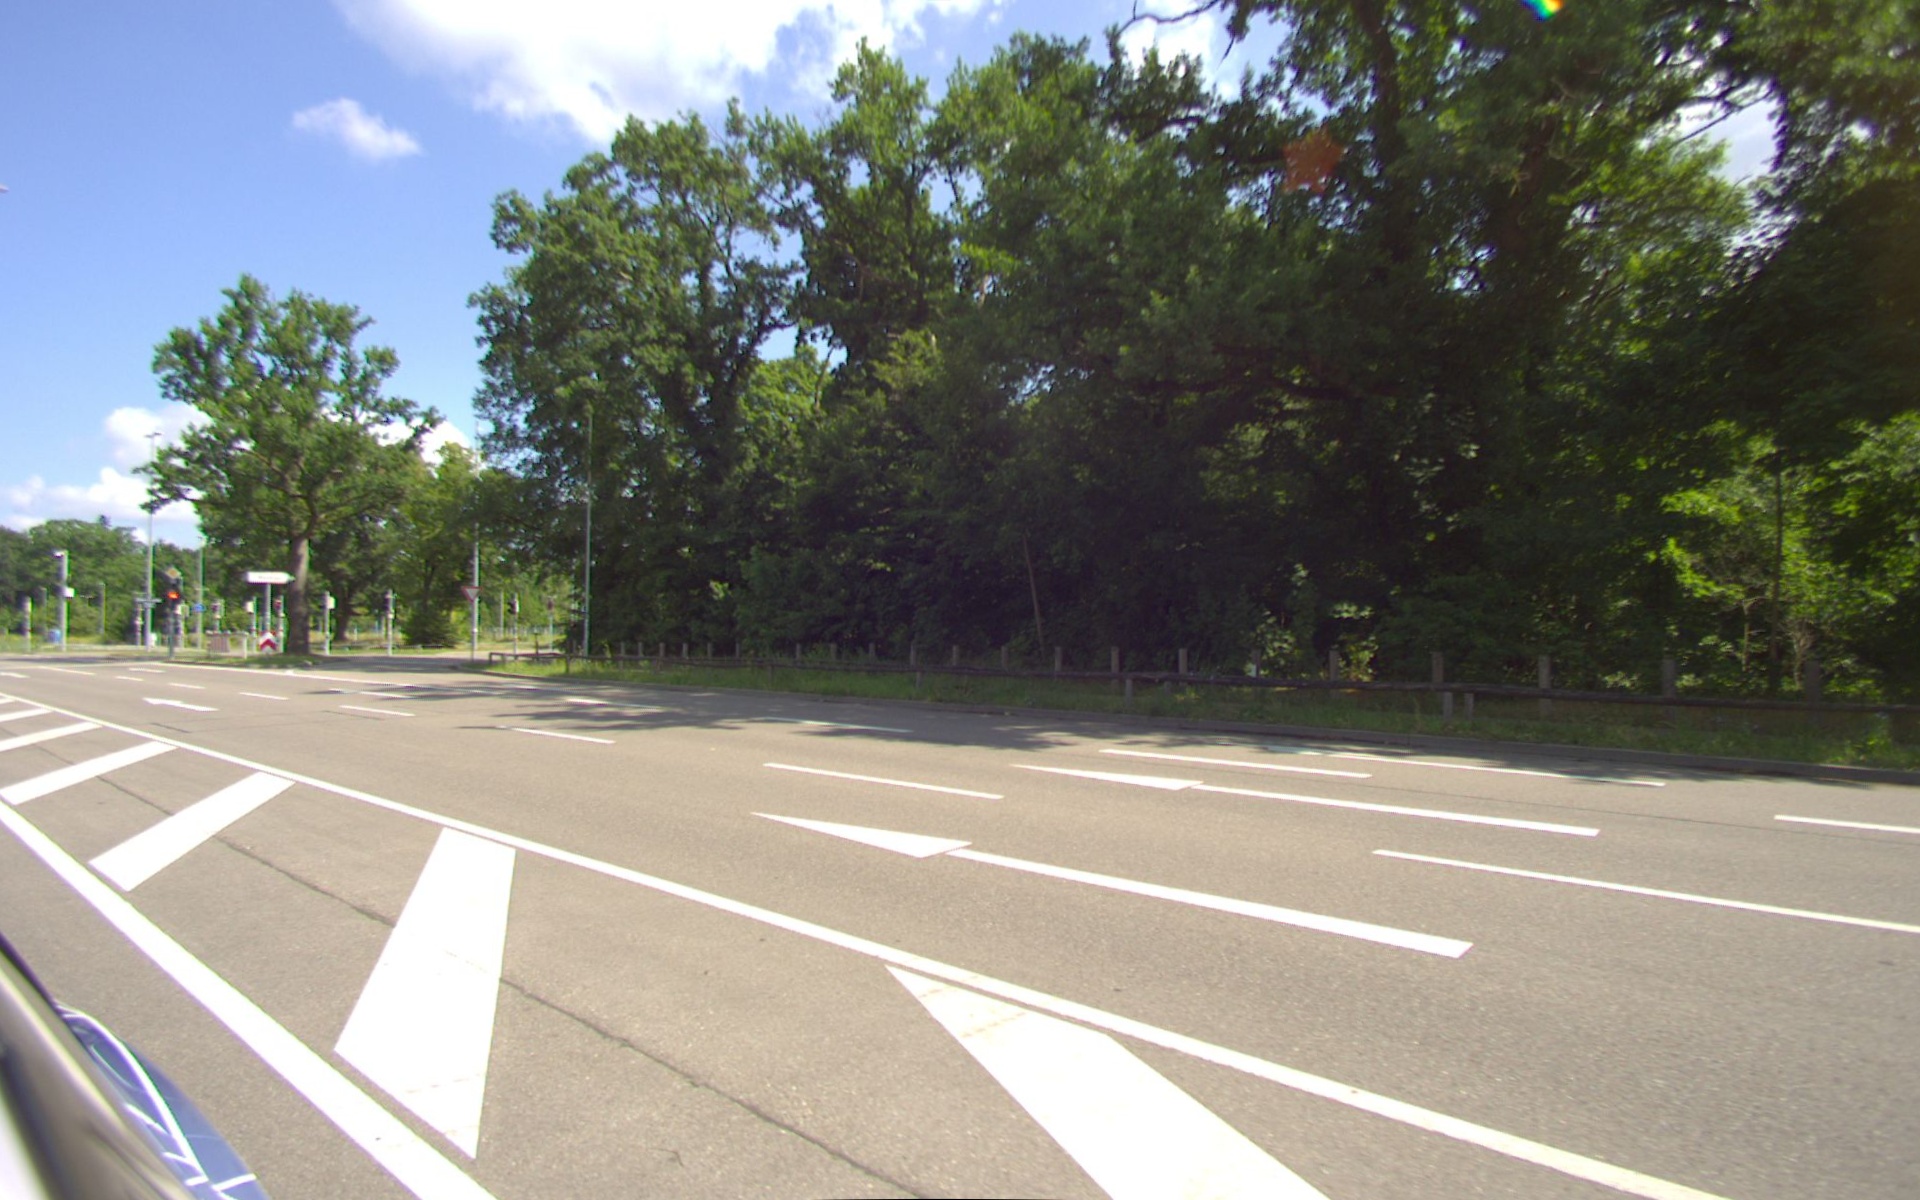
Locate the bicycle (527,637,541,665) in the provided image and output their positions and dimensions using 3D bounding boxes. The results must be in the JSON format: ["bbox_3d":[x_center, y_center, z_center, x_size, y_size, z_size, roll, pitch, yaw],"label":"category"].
[{"bbox_3d":[-18.244,2.179,43.375,0.414,1.182,1.233,0,-1,-29],"label":"bicycle"}]
